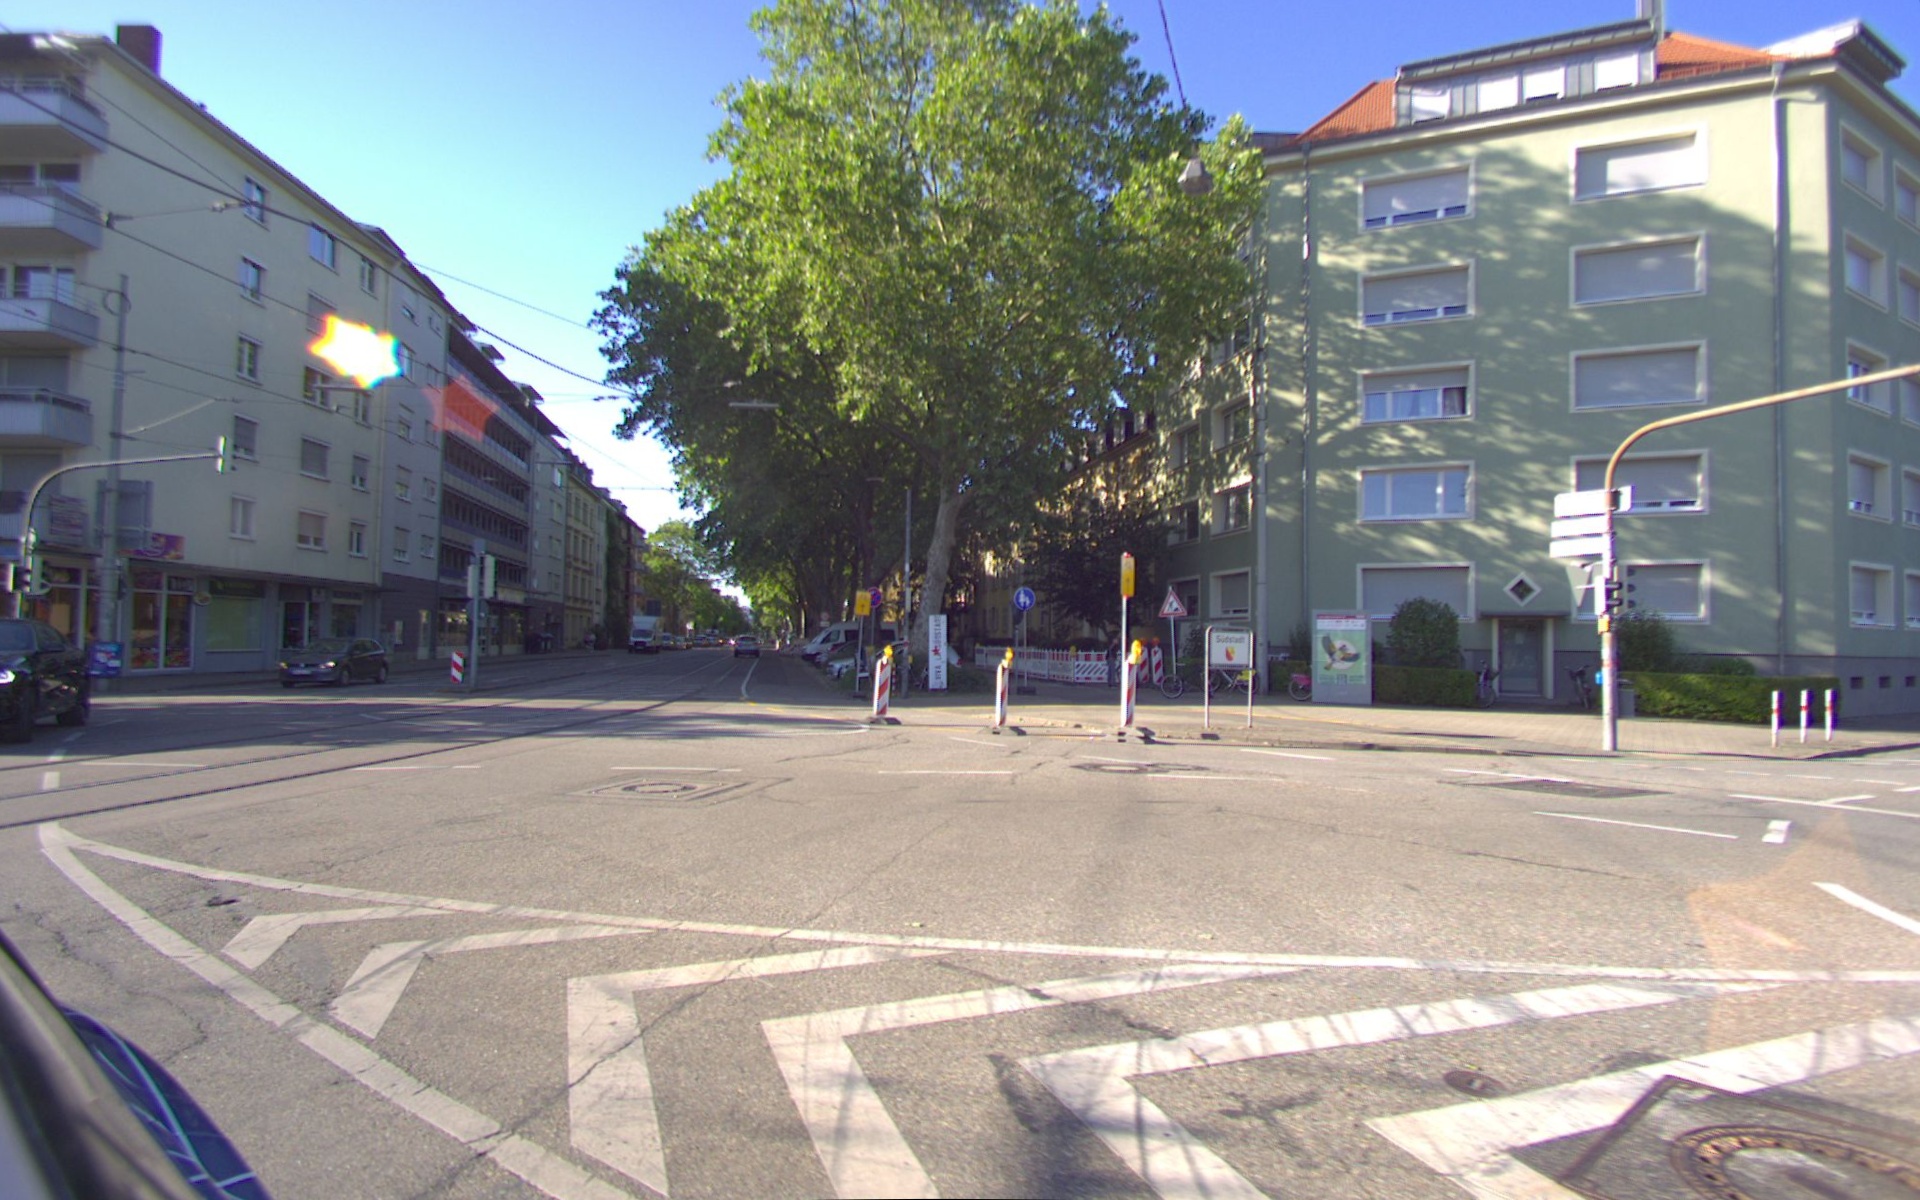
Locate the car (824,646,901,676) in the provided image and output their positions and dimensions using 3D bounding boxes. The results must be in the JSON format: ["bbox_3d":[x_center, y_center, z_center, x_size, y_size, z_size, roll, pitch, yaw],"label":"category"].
[{"bbox_3d":[-4.996,3.114,51.657,3.804,1.457,1.696,1,-1,-7],"label":"car"}]

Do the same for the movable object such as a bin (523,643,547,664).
[{"bbox_3d":[-29.338,3.682,69.847,1.185,1.421,1.374,1,-3,-7],"label":"movable object such as a bin"}]

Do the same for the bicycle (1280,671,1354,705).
[{"bbox_3d":[9.104,2.242,25.825,1.770,0.765,0.355,1,-2,24],"label":"bicycle"}]

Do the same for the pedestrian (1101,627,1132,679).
[{"bbox_3d":[4.873,1.649,31.475,0.592,1.580,0.745,3,-3,-34],"label":"pedestrian"}]

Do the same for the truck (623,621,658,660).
[{"bbox_3d":[-26.840,3.393,85.231,2.306,3.137,5.225,1,-1,-12],"label":"truck"}]

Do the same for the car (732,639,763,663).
[{"bbox_3d":[-15.894,3.826,75.944,1.968,1.644,4.639,2,-2,-9],"label":"car"}]

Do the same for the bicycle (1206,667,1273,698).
[{"bbox_3d":[7.663,2.256,27.794,1.780,0.765,0.353,0,-3,41],"label":"bicycle"}]

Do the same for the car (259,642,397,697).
[{"bbox_3d":[-18.579,1.995,29.968,1.902,1.416,3.944,1,-1,-5],"label":"car"}]

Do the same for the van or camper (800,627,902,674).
[{"bbox_3d":[-6.419,2.959,59.555,5.842,2.668,2.160,1,-1,-8],"label":"van or camper"}]

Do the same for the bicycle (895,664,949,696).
[{"bbox_3d":[-1.113,2.367,29.916,1.546,0.895,0.359,2,-2,-18],"label":"bicycle"}]

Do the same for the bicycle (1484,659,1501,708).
[{"bbox_3d":[13.891,2.171,26.396,0.357,1.215,1.498,0,-2,28],"label":"bicycle"}]

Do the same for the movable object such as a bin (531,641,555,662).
[{"bbox_3d":[-29.597,3.678,71.818,1.185,1.421,1.374,2,-2,-7],"label":"movable object such as a bin"}]

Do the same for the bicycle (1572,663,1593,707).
[{"bbox_3d":[16.347,2.212,26.591,0.357,1.096,1.498,0,-2,28],"label":"bicycle"}]

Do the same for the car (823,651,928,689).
[{"bbox_3d":[-3.346,2.751,39.864,4.020,1.379,1.847,1,-1,-7],"label":"car"}]

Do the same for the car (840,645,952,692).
[{"bbox_3d":[-2.408,2.524,37.520,4.020,1.624,1.847,1,-1,-7],"label":"car"}]

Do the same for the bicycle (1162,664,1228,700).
[{"bbox_3d":[6.142,2.145,26.422,1.750,0.895,0.359,2,-2,-18],"label":"bicycle"}]

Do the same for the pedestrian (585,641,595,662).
[{"bbox_3d":[-29.530,4.115,80.801,0.533,1.685,0.631,2,-2,-7],"label":"pedestrian"}]

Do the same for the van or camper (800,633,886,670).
[{"bbox_3d":[-7.976,3.485,68.843,5.676,2.403,2.160,1,-1,-8],"label":"van or camper"}]

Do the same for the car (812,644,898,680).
[{"bbox_3d":[-5.100,3.008,49.023,4.020,1.631,1.847,1,-1,-7],"label":"car"}]

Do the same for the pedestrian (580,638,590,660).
[{"bbox_3d":[-30.614,3.997,82.591,0.533,1.735,0.631,2,-2,-7],"label":"pedestrian"}]

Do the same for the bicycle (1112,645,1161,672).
[{"bbox_3d":[5.496,1.813,31.577,0.352,0.765,1.785,3,-2,-34],"label":"bicycle"}]

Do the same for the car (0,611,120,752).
[{"bbox_3d":[-13.875,1.033,14.331,1.898,1.766,4.698,4,-3,-26],"label":"car"}]

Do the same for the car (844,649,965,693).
[{"bbox_3d":[-1.943,2.431,35.063,3.933,1.428,1.708,1,-1,-13],"label":"car"}]
